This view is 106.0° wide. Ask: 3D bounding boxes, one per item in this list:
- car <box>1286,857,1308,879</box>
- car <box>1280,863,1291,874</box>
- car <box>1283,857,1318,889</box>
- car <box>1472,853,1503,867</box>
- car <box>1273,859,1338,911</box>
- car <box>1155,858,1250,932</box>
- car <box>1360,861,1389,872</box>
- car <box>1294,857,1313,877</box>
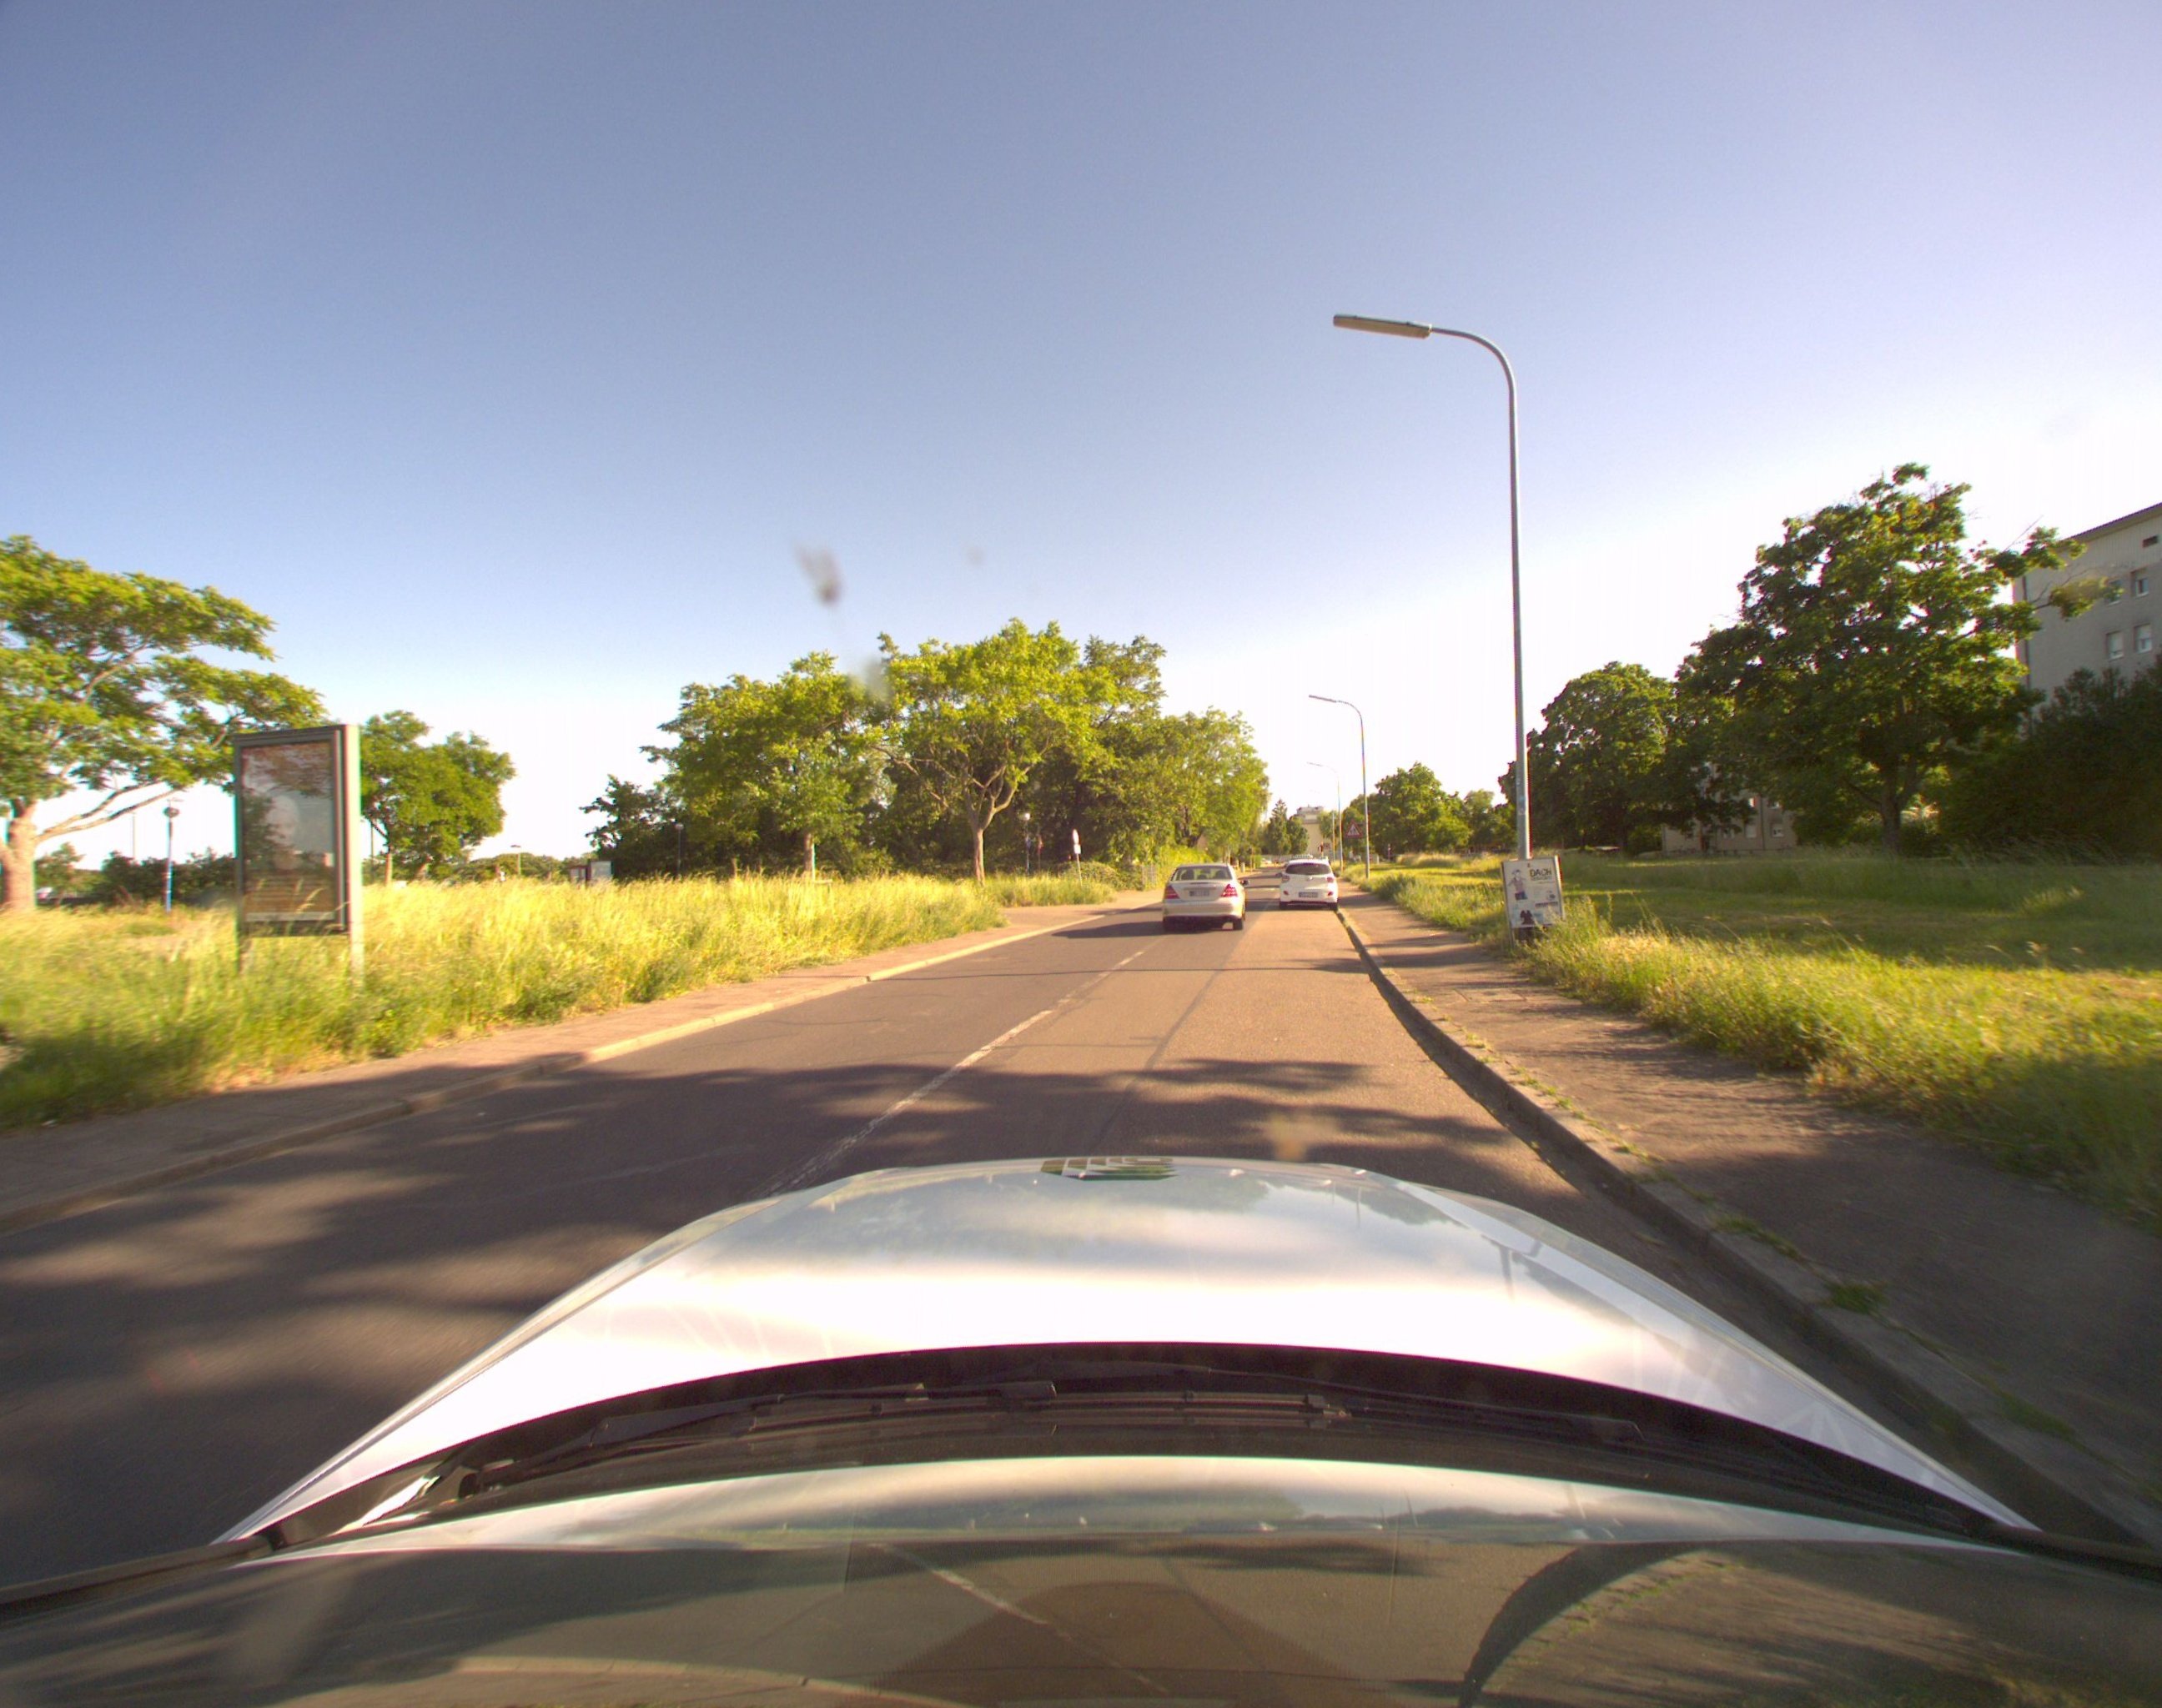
[{"bbox_3d":[17.593,1.122,66.469,1.686,1.760,3.865,0,0,14],"label":"car"},{"bbox_3d":[37.493,2.670,149.395,1.871,1.728,4.015,-2,-3,15],"label":"car"},{"bbox_3d":[12.066,1.008,44.880,1.686,1.610,4.015,-2,-1,14],"label":"car"},{"bbox_3d":[55.489,0.811,111.132,3.667,1.618,1.710,-3,-4,30],"label":"car"},{"bbox_3d":[6.885,0.915,25.255,1.710,1.479,3.752,0,-1,12],"label":"car"},{"bbox_3d":[2.855,0.862,18.418,1.804,1.463,4.375,-1,-1,12],"label":"car"},{"bbox_3d":[42.758,1.785,118.697,3.667,1.442,1.710,-3,-4,30],"label":"car"},{"bbox_3d":[20.751,1.219,76.137,1.686,1.851,3.865,0,0,14],"label":"car"}]
